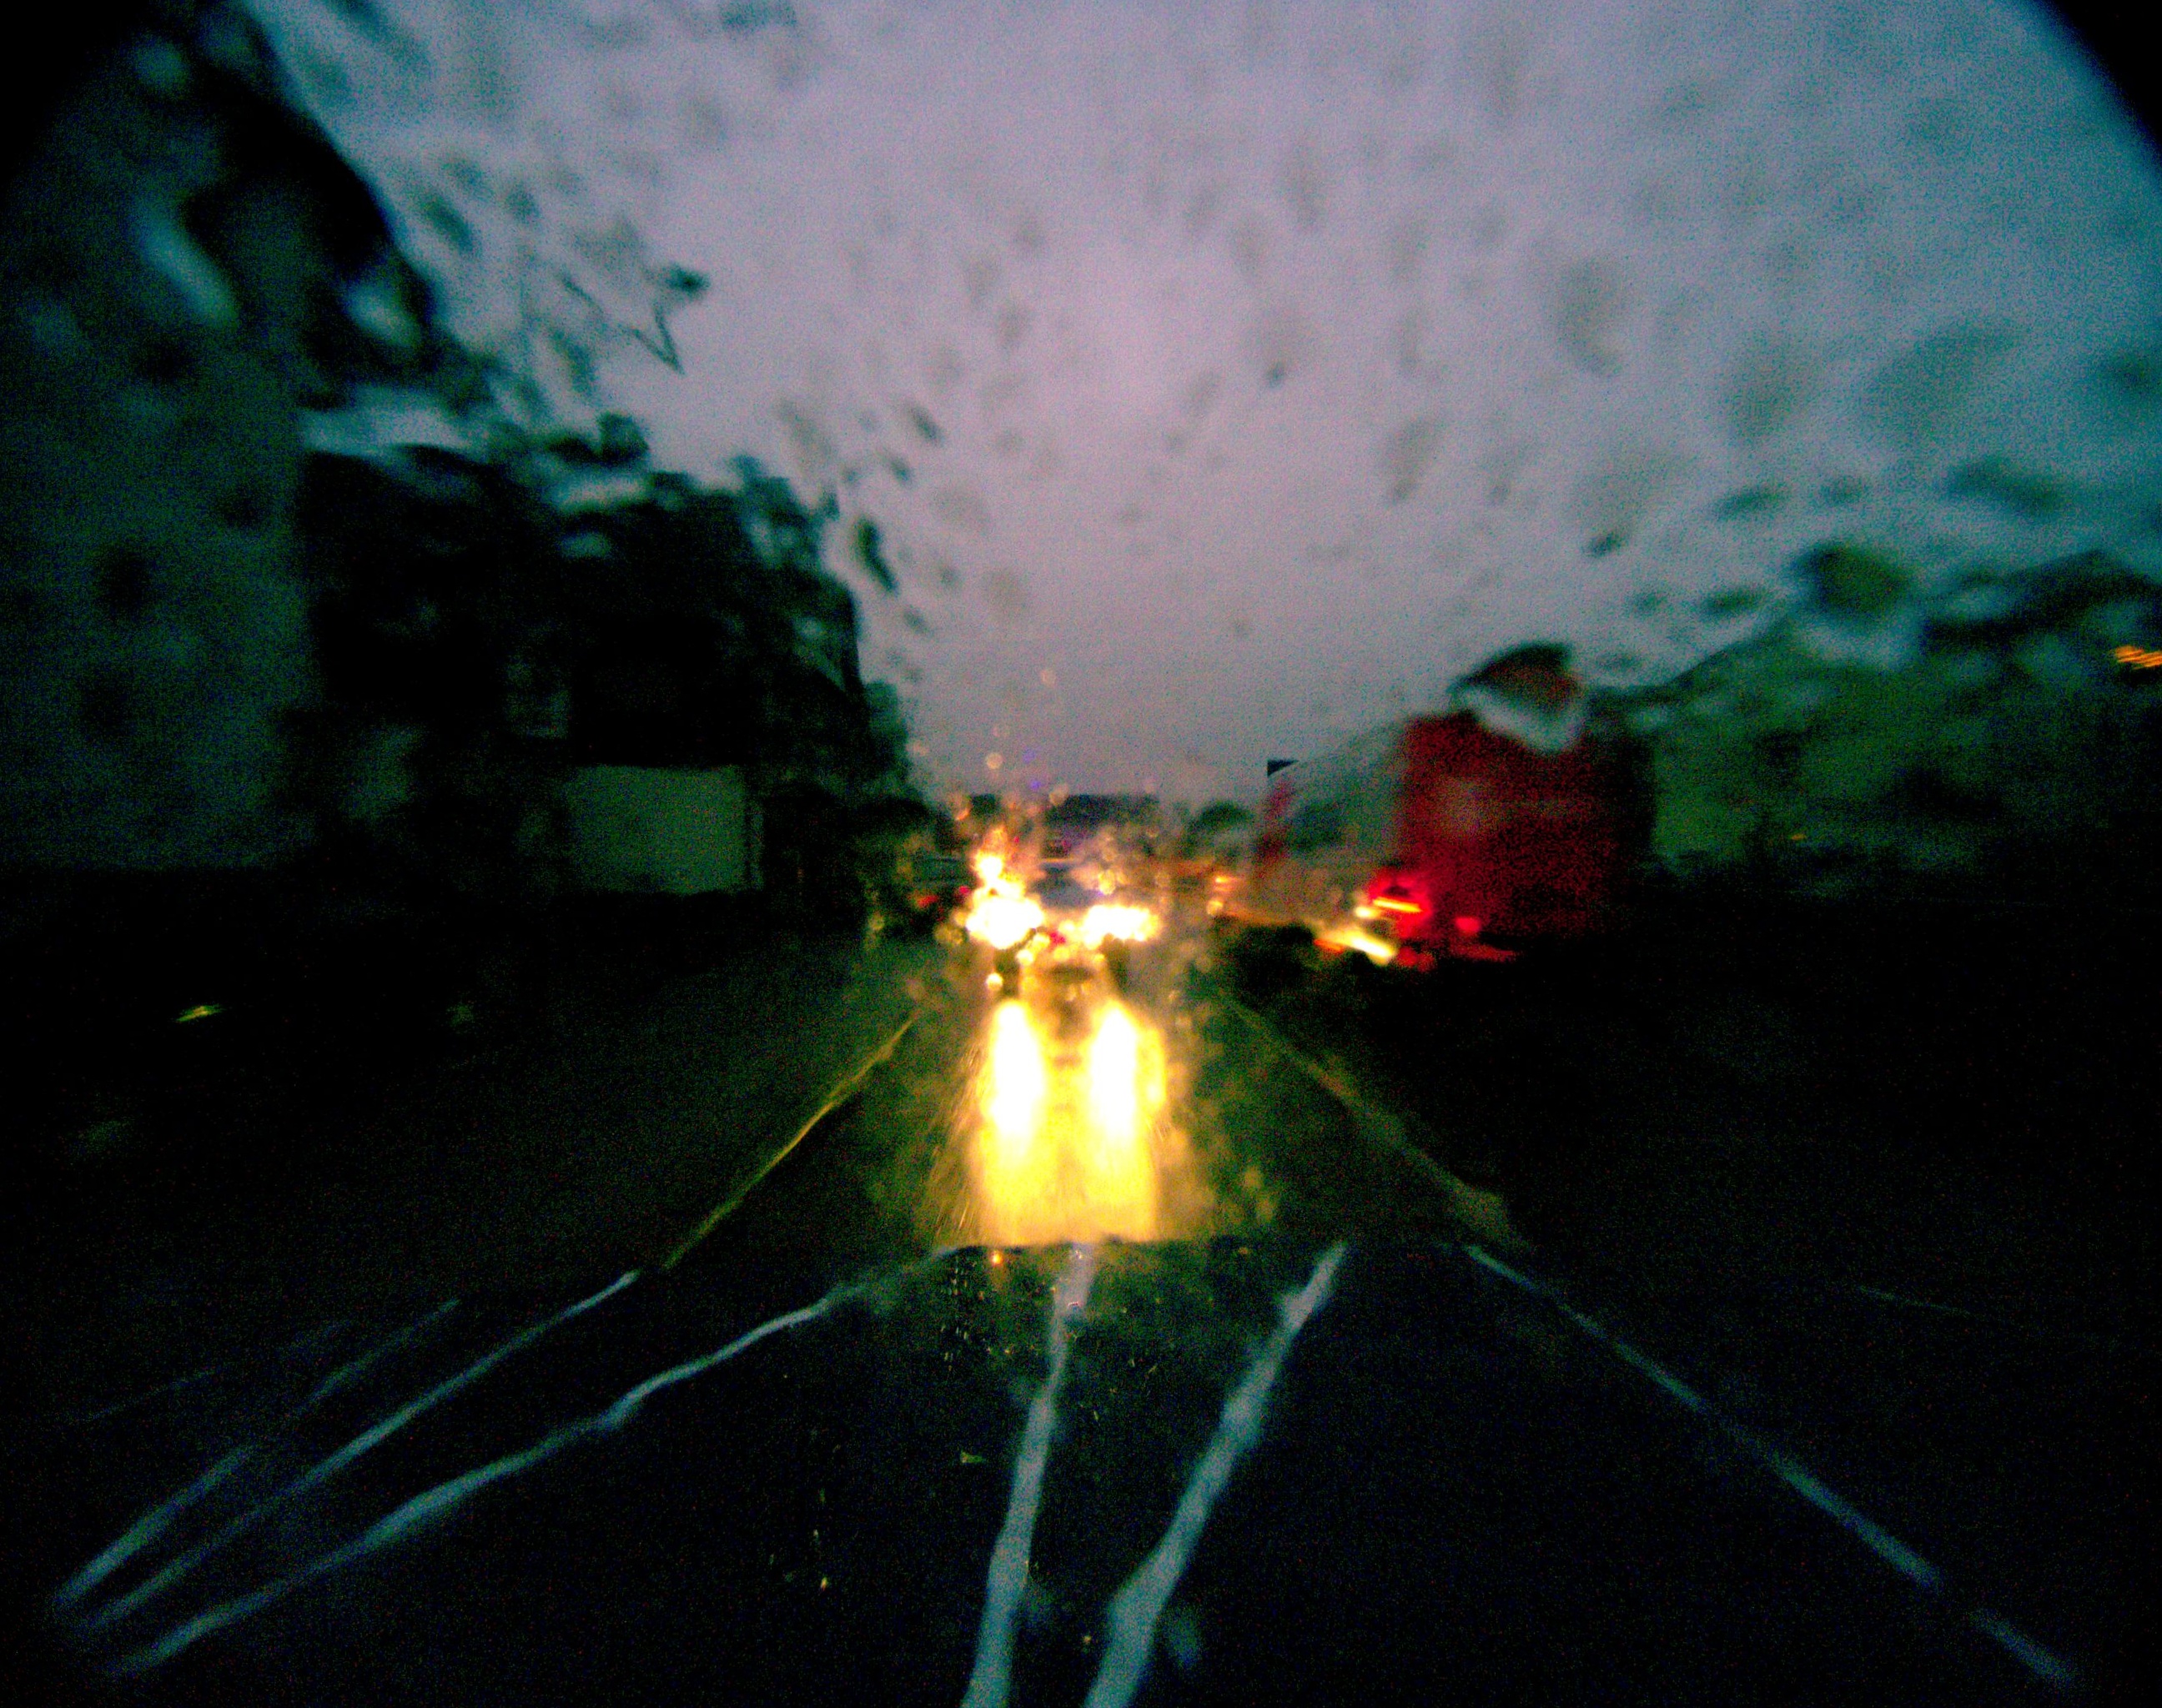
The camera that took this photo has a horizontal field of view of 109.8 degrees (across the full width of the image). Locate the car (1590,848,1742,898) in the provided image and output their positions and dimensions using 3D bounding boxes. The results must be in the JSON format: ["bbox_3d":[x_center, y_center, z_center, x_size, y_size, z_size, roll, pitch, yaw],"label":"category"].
[{"bbox_3d":[20.516,0.634,26.912,1.879,1.589,4.223,1,0,-5],"label":"car"}]

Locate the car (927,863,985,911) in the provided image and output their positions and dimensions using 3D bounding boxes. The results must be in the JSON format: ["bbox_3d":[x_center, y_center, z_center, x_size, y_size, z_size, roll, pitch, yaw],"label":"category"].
[{"bbox_3d":[-3.957,1.018,24.352,1.650,1.407,2.726,2,0,-6],"label":"car"}]

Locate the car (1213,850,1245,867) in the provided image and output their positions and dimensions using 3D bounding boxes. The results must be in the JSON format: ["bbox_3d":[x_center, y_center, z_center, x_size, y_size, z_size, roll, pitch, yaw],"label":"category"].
[{"bbox_3d":[14.556,0.430,74.892,1.822,1.615,3.982,-3,0,-7],"label":"car"}]

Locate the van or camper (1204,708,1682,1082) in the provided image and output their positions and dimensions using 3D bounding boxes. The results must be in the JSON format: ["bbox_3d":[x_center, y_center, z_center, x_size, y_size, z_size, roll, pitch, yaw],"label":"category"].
[{"bbox_3d":[3.119,0.298,8.689,2.246,2.653,6.554,0,0,-1],"label":"van or camper"}]

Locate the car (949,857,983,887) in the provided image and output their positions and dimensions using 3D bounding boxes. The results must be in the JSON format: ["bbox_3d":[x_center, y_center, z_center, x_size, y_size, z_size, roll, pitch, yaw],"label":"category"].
[{"bbox_3d":[-6.127,0.935,40.299,1.658,1.446,4.234,1,0,-9],"label":"car"}]

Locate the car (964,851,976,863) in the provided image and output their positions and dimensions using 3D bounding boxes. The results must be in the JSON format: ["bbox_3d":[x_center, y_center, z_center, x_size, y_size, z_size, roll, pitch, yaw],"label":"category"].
[{"bbox_3d":[-16.342,0.409,111.726,1.737,1.527,3.777,-3,1,-9],"label":"car"}]

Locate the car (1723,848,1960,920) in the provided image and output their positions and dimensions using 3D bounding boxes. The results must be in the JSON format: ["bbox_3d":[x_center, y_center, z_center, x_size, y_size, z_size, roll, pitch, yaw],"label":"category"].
[{"bbox_3d":[20.867,0.773,21.173,1.879,1.768,4.499,1,0,-5],"label":"car"}]

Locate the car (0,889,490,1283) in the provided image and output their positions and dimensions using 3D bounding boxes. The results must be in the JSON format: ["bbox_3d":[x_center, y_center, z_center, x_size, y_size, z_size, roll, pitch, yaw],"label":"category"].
[{"bbox_3d":[-5.451,0.992,4.282,1.771,1.385,3.909,1,0,-11],"label":"car"}]

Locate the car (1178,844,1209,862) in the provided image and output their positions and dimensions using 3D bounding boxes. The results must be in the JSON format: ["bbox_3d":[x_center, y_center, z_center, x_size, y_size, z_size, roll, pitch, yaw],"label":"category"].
[{"bbox_3d":[12.860,-0.156,87.161,2.000,1.894,4.352,-4,1,-13],"label":"car"}]

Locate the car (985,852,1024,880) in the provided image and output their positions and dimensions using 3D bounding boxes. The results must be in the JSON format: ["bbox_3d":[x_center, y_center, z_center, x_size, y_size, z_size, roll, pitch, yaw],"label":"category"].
[{"bbox_3d":[-4.954,0.722,48.799,1.908,1.630,4.561,-1,1,-12],"label":"car"}]

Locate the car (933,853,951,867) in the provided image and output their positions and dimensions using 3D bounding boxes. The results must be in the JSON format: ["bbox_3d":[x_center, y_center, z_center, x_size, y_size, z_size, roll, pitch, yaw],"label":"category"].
[{"bbox_3d":[-15.515,0.662,84.881,1.814,1.555,4.299,0,0,-13],"label":"car"}]

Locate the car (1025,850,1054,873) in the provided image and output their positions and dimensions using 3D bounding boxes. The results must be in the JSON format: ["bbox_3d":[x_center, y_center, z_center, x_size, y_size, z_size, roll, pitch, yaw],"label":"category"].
[{"bbox_3d":[-3.115,0.550,56.480,1.668,1.626,3.548,-1,0,-9],"label":"car"}]

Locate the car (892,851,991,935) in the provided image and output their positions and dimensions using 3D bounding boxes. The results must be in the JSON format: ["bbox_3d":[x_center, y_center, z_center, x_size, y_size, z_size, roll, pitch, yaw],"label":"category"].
[{"bbox_3d":[-3.280,0.850,18.580,1.774,1.771,3.999,2,0,-2],"label":"car"}]

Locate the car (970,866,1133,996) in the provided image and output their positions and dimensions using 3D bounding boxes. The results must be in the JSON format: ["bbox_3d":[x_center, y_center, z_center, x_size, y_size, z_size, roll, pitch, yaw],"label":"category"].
[{"bbox_3d":[-0.297,1.009,11.616,1.998,1.526,4.001,-3,0,2],"label":"car"}]

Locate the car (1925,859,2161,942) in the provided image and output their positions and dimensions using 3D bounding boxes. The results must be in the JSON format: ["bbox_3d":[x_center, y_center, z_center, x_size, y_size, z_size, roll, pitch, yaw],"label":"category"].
[{"bbox_3d":[21.276,0.911,16.007,1.879,1.563,4.500,1,0,-3],"label":"car"}]

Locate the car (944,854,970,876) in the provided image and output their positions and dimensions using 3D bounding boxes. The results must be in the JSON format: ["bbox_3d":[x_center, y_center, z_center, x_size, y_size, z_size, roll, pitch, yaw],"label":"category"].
[{"bbox_3d":[-9.421,0.820,57.519,1.670,1.566,4.491,-1,1,-12],"label":"car"}]
